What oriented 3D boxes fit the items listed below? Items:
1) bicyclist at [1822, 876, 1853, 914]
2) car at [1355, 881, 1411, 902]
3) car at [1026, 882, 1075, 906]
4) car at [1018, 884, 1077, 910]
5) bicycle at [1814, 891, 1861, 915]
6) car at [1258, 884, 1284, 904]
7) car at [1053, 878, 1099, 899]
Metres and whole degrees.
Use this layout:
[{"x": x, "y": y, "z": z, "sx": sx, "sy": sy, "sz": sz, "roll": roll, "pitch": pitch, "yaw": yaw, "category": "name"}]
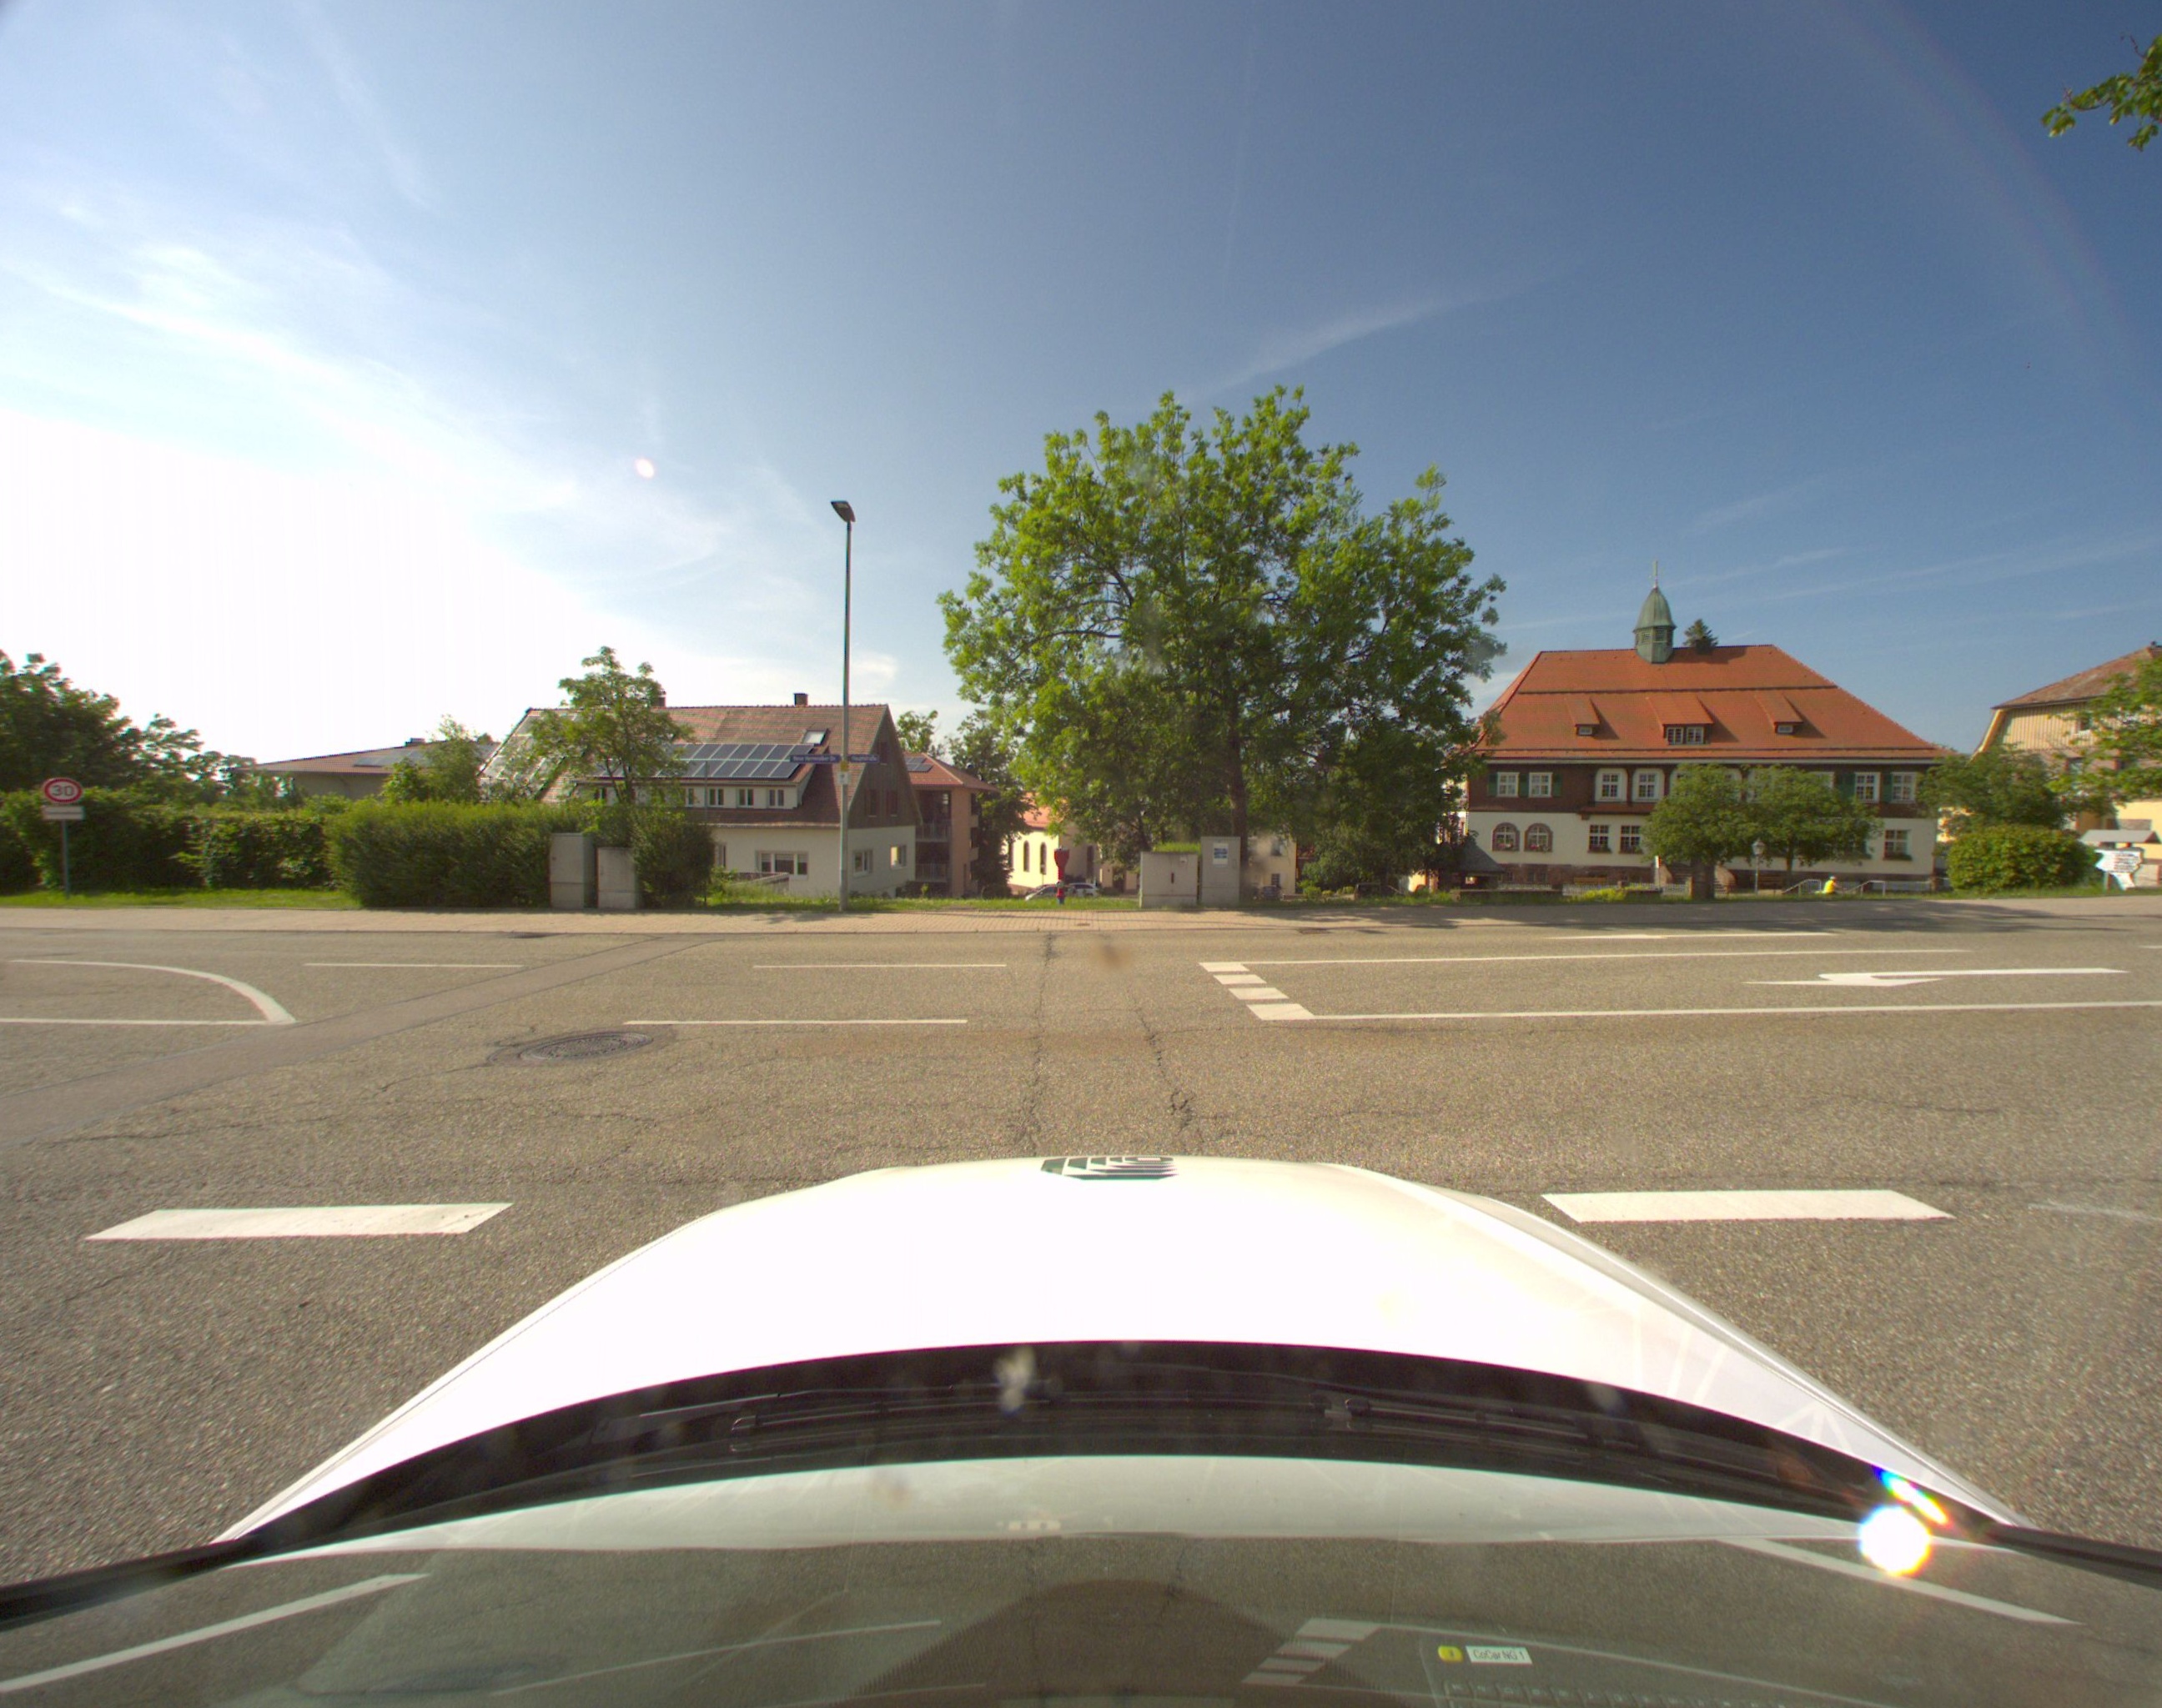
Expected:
[{"x": 38.907, "y": 2.081, "z": 41.893, "sx": 0.987, "sy": 1.925, "sz": 0.584, "roll": -1, "pitch": -1, "yaw": 13, "category": "bicyclist"}, {"x": 22.594, "y": 2.813, "z": 61.098, "sx": 3.746, "sy": 1.444, "sz": 1.720, "roll": -1, "pitch": -1, "yaw": 14, "category": "car"}, {"x": -2.377, "y": 3.113, "z": 63.644, "sx": 3.765, "sy": 1.758, "sz": 1.711, "roll": -1, "pitch": -1, "yaw": -4, "category": "car"}, {"x": -2.380, "y": 3.042, "z": 57.816, "sx": 4.081, "sy": 1.758, "sz": 1.712, "roll": -1, "pitch": -1, "yaw": -3, "category": "car"}, {"x": 38.892, "y": 2.530, "z": 41.879, "sx": 1.710, "sy": 1.190, "sz": 0.540, "roll": -1, "pitch": -1, "yaw": 13, "category": "bicycle"}, {"x": 15.753, "y": 3.289, "z": 67.669, "sx": 1.699, "sy": 1.542, "sz": 3.791, "roll": -1, "pitch": -1, "yaw": 6, "category": "car"}, {"x": -0.433, "y": 2.891, "z": 68.626, "sx": 3.765, "sy": 1.593, "sz": 1.711, "roll": -1, "pitch": -1, "yaw": -4, "category": "car"}]
